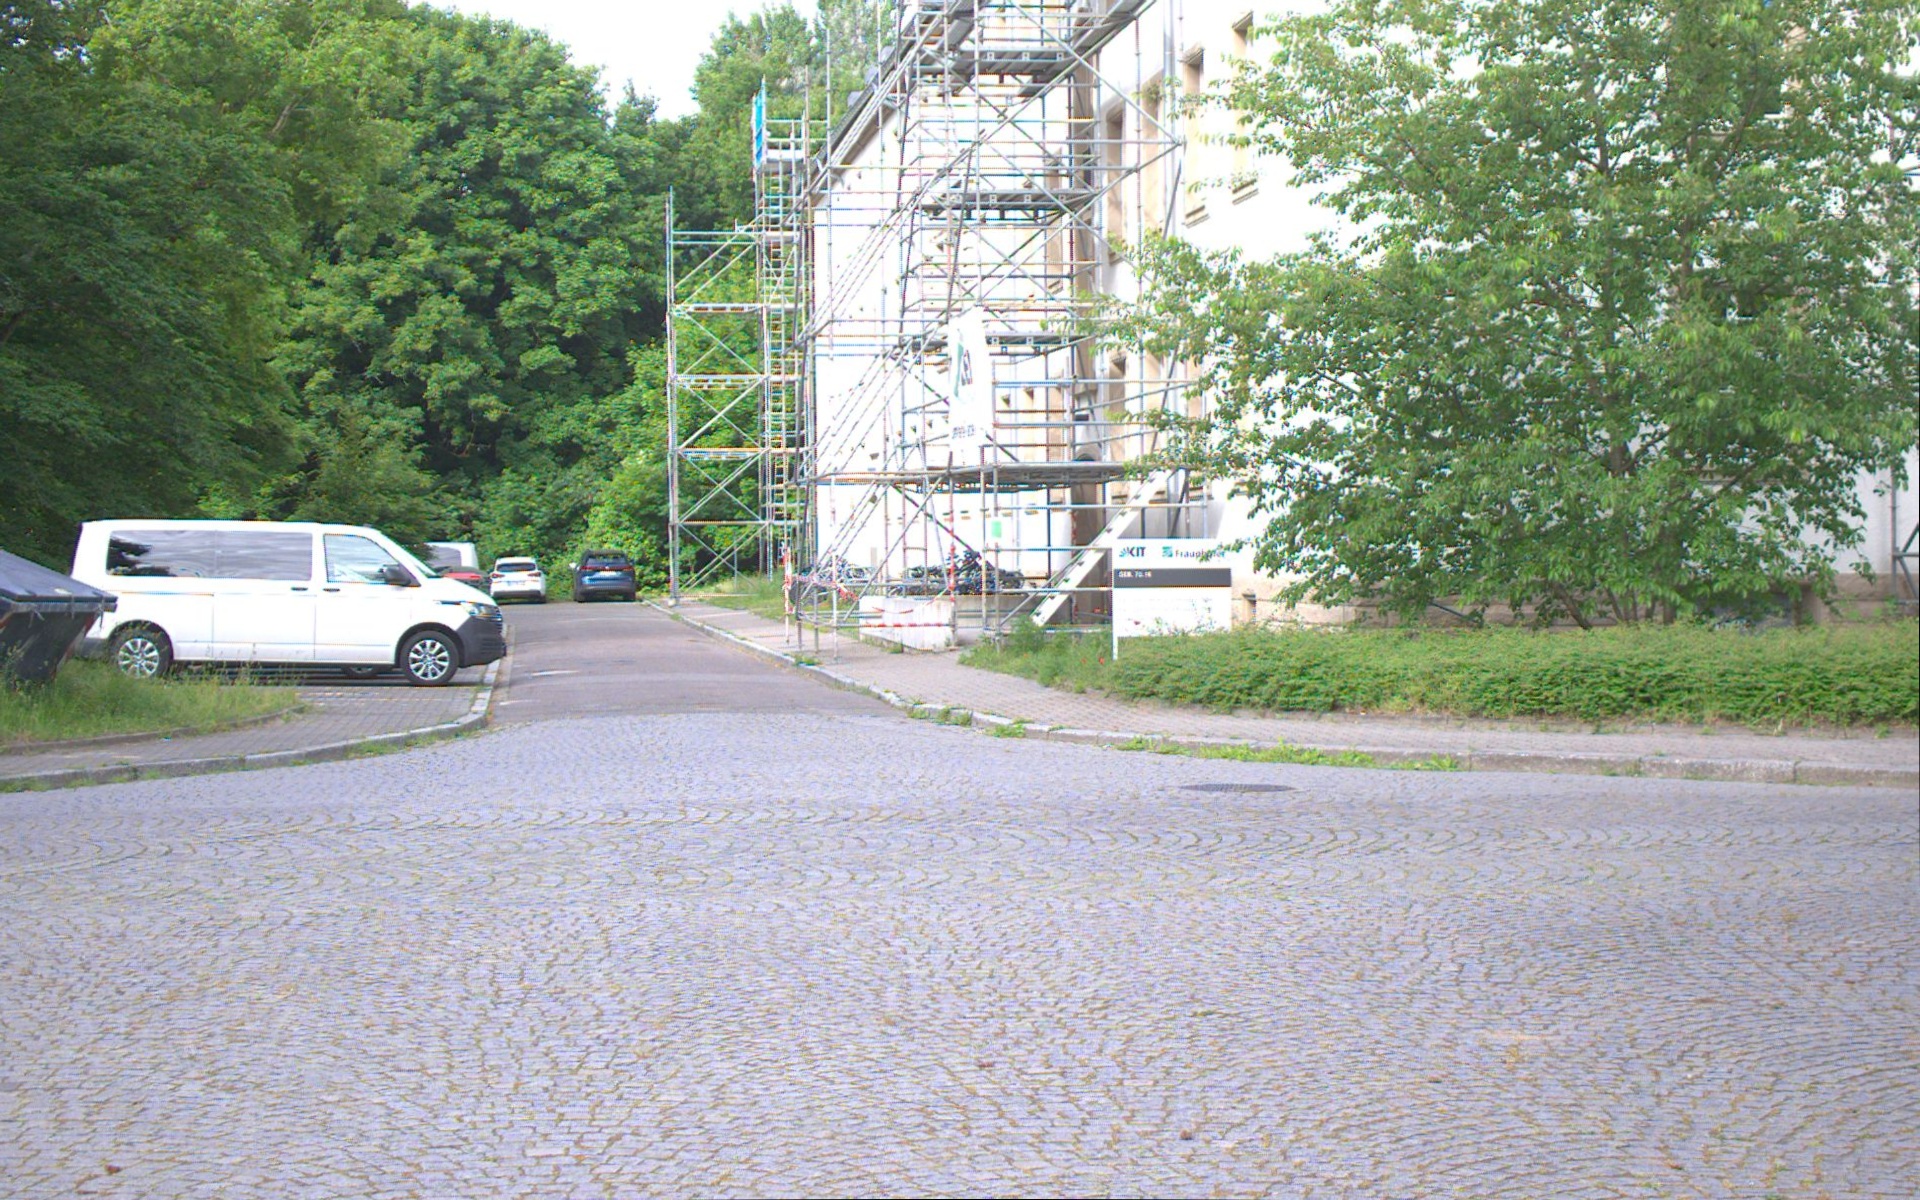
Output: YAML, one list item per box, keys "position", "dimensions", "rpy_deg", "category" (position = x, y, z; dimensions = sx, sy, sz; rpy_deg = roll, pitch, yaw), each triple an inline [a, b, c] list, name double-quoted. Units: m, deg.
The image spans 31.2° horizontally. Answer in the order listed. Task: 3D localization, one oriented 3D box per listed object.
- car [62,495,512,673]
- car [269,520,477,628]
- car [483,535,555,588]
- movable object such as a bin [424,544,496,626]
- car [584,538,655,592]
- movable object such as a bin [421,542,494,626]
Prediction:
- position: [-8.066, -0.185, 41.663]
  dimensions: [5.199, 2.053, 2.189]
  rpy_deg: [1, 0, -8]
  category: "car"
- position: [-11.771, -0.510, 68.916]
  dimensions: [3.986, 2.007, 1.922]
  rpy_deg: [2, 0, -11]
  category: "car"
- position: [-13.787, -1.182, 107.426]
  dimensions: [2.001, 1.542, 3.959]
  rpy_deg: [2, 0, -10]
  category: "car"
- position: [-8.899, -0.260, 61.230]
  dimensions: [1.183, 1.402, 0.975]
  rpy_deg: [2, 0, -6]
  category: "movable object such as a bin"
- position: [-10.689, -1.089, 108.129]
  dimensions: [2.063, 1.588, 4.000]
  rpy_deg: [2, 0, -4]
  category: "car"
- position: [-8.789, -0.276, 60.121]
  dimensions: [1.183, 1.402, 0.975]
  rpy_deg: [2, 0, -6]
  category: "movable object such as a bin"
